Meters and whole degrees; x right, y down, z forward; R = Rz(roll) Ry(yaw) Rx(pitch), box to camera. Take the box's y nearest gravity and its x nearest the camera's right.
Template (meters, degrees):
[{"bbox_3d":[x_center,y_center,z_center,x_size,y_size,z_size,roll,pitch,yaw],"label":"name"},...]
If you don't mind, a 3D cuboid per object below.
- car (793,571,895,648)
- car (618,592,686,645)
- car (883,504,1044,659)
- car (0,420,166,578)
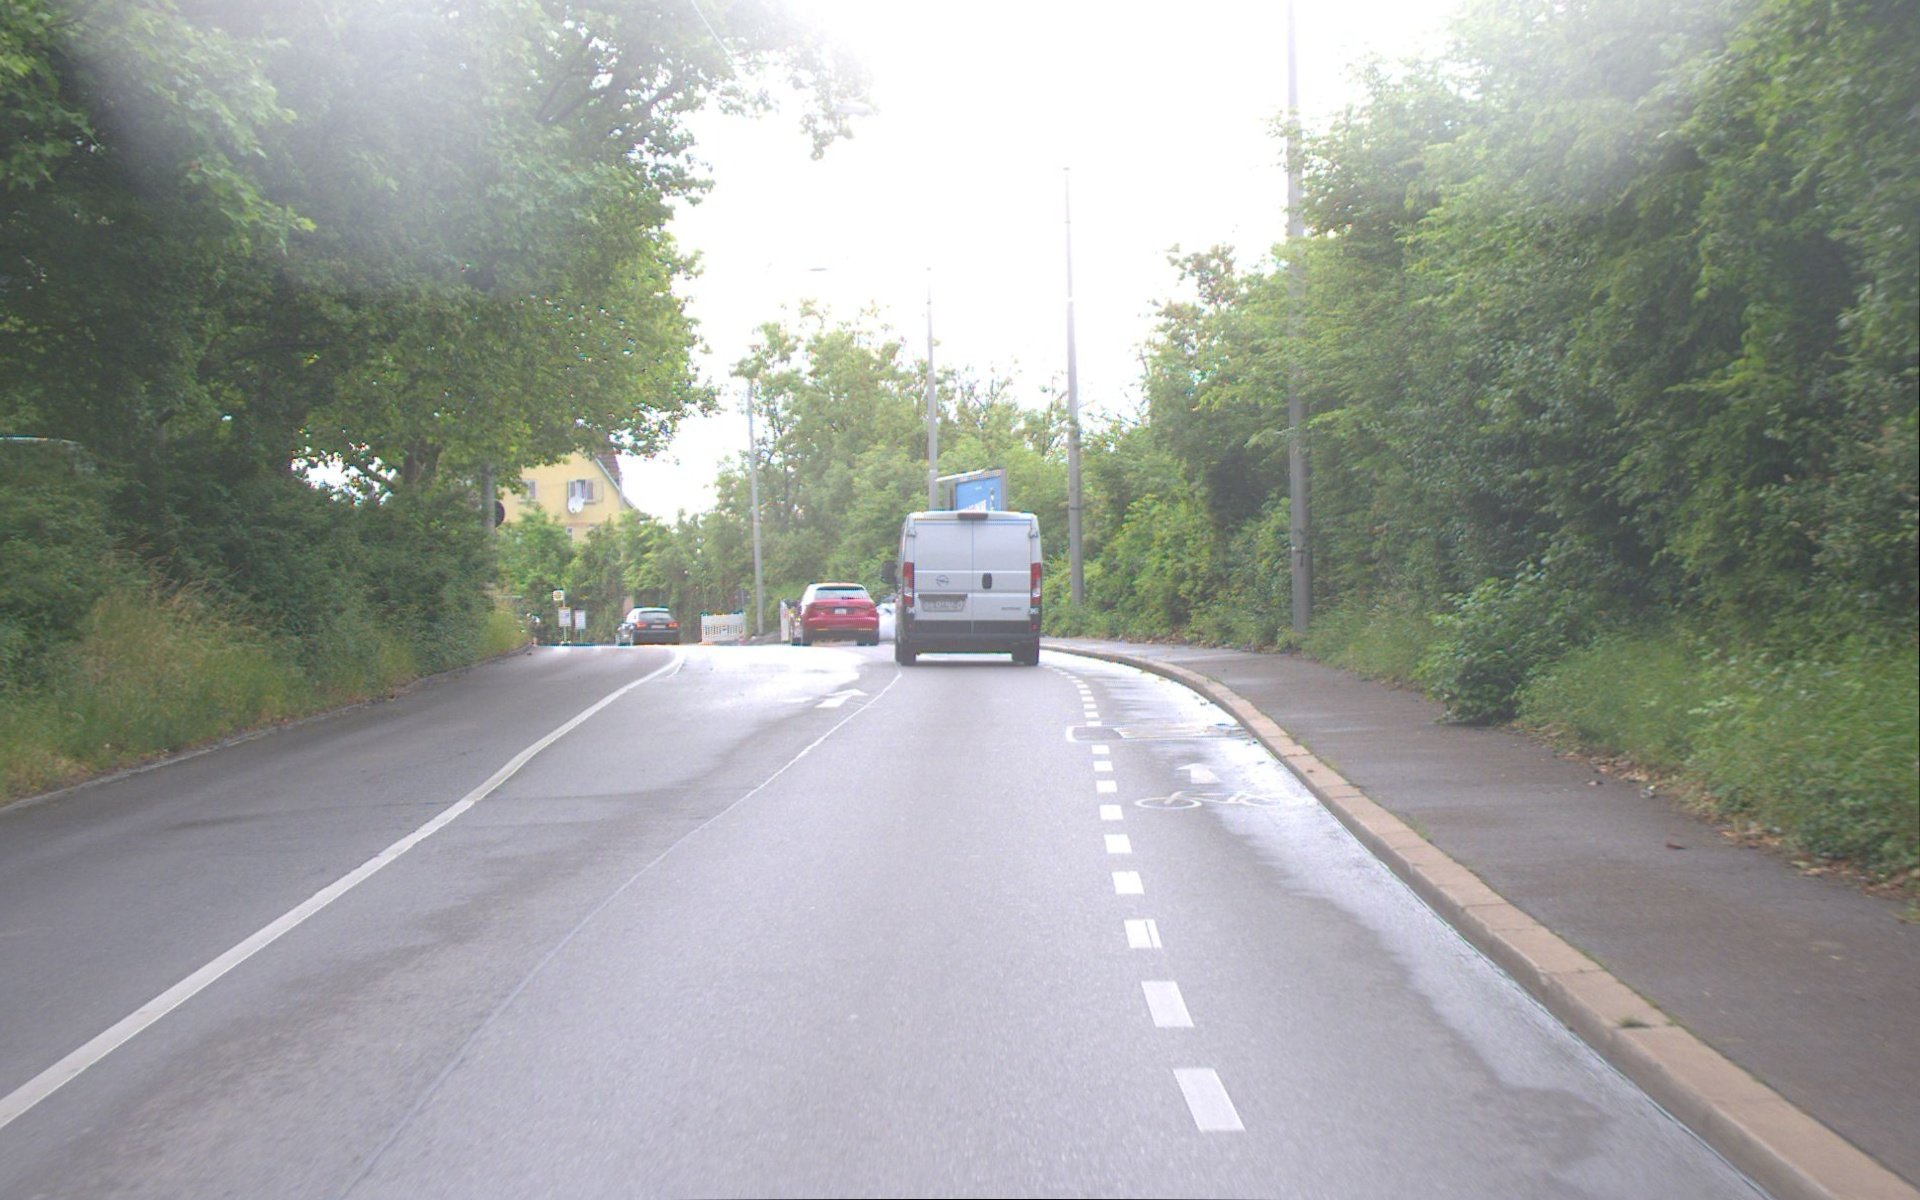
[{"bbox_3d":[-2.684,0.191,78.518,2.237,1.651,4.714,0,1,-3],"label":"car"},{"bbox_3d":[-10.926,0.637,121.757,2.237,1.798,4.714,0,1,-7],"label":"car"},{"bbox_3d":[-0.007,-0.298,51.376,2.237,2.205,4.714,0,1,-2],"label":"car"},{"bbox_3d":[-12.144,-1.326,46.310,1.993,2.007,4.628,0,1,-2],"label":"car"}]
